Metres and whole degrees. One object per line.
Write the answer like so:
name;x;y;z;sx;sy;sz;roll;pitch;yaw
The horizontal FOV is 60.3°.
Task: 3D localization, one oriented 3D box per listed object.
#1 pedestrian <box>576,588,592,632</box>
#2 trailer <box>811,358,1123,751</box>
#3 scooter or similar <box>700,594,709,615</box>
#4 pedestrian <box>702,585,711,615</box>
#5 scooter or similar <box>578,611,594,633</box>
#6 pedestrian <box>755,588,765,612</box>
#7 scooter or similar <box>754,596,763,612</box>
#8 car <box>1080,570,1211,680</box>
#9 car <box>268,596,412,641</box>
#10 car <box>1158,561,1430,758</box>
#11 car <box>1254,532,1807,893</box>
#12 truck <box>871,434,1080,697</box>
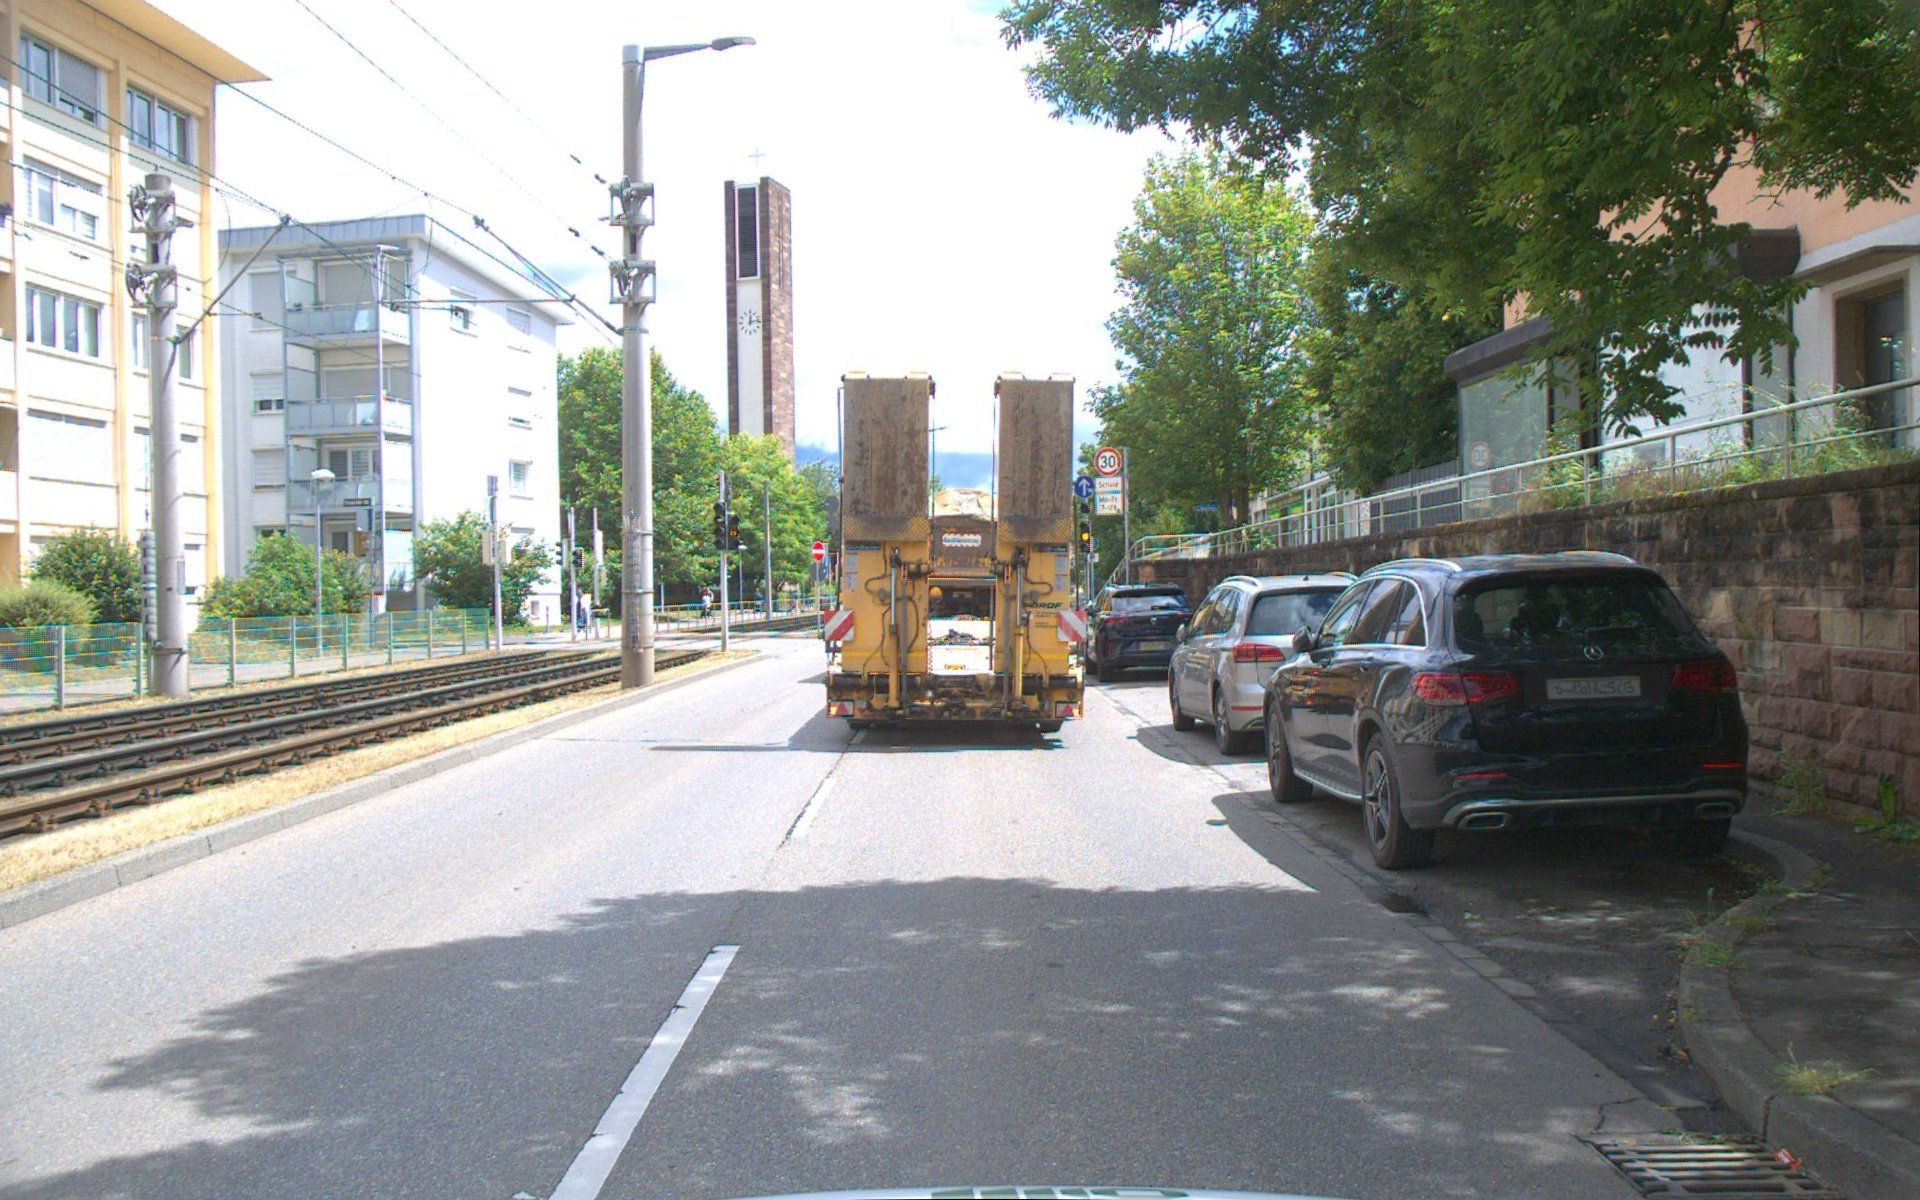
pedestrian;-13.723;0.359;60.320;0.428;1.608;0.475;-1;0;4
trailer;0.151;-0.463;19.958;2.884;3.664;8.685;1;0;1
scooter or similar;-13.523;0.250;87.673;0.331;1.076;0.688;-1;0;3
pedestrian;-13.530;0.007;88.306;0.341;1.564;0.557;-1;0;4
scooter or similar;-13.538;0.800;59.825;0.428;0.760;0.475;-1;0;5
pedestrian;-12.685;0.004;104.782;0.552;1.540;0.645;1;0;-1
scooter or similar;-12.706;0.278;104.127;0.495;0.988;0.645;1;0;-1
car;3.099;0.385;28.357;1.813;1.668;4.001;-2;0;1
car;-19.966;0.587;53.337;3.902;1.369;1.903;-1;0;8
car;3.146;0.499;16.435;1.753;1.646;4.248;-2;0;-1
car;3.142;0.523;10.171;1.753;1.646;4.447;-3;0;-1
truck;0.253;-0.503;25.531;2.882;3.635;4.877;1;0;1
